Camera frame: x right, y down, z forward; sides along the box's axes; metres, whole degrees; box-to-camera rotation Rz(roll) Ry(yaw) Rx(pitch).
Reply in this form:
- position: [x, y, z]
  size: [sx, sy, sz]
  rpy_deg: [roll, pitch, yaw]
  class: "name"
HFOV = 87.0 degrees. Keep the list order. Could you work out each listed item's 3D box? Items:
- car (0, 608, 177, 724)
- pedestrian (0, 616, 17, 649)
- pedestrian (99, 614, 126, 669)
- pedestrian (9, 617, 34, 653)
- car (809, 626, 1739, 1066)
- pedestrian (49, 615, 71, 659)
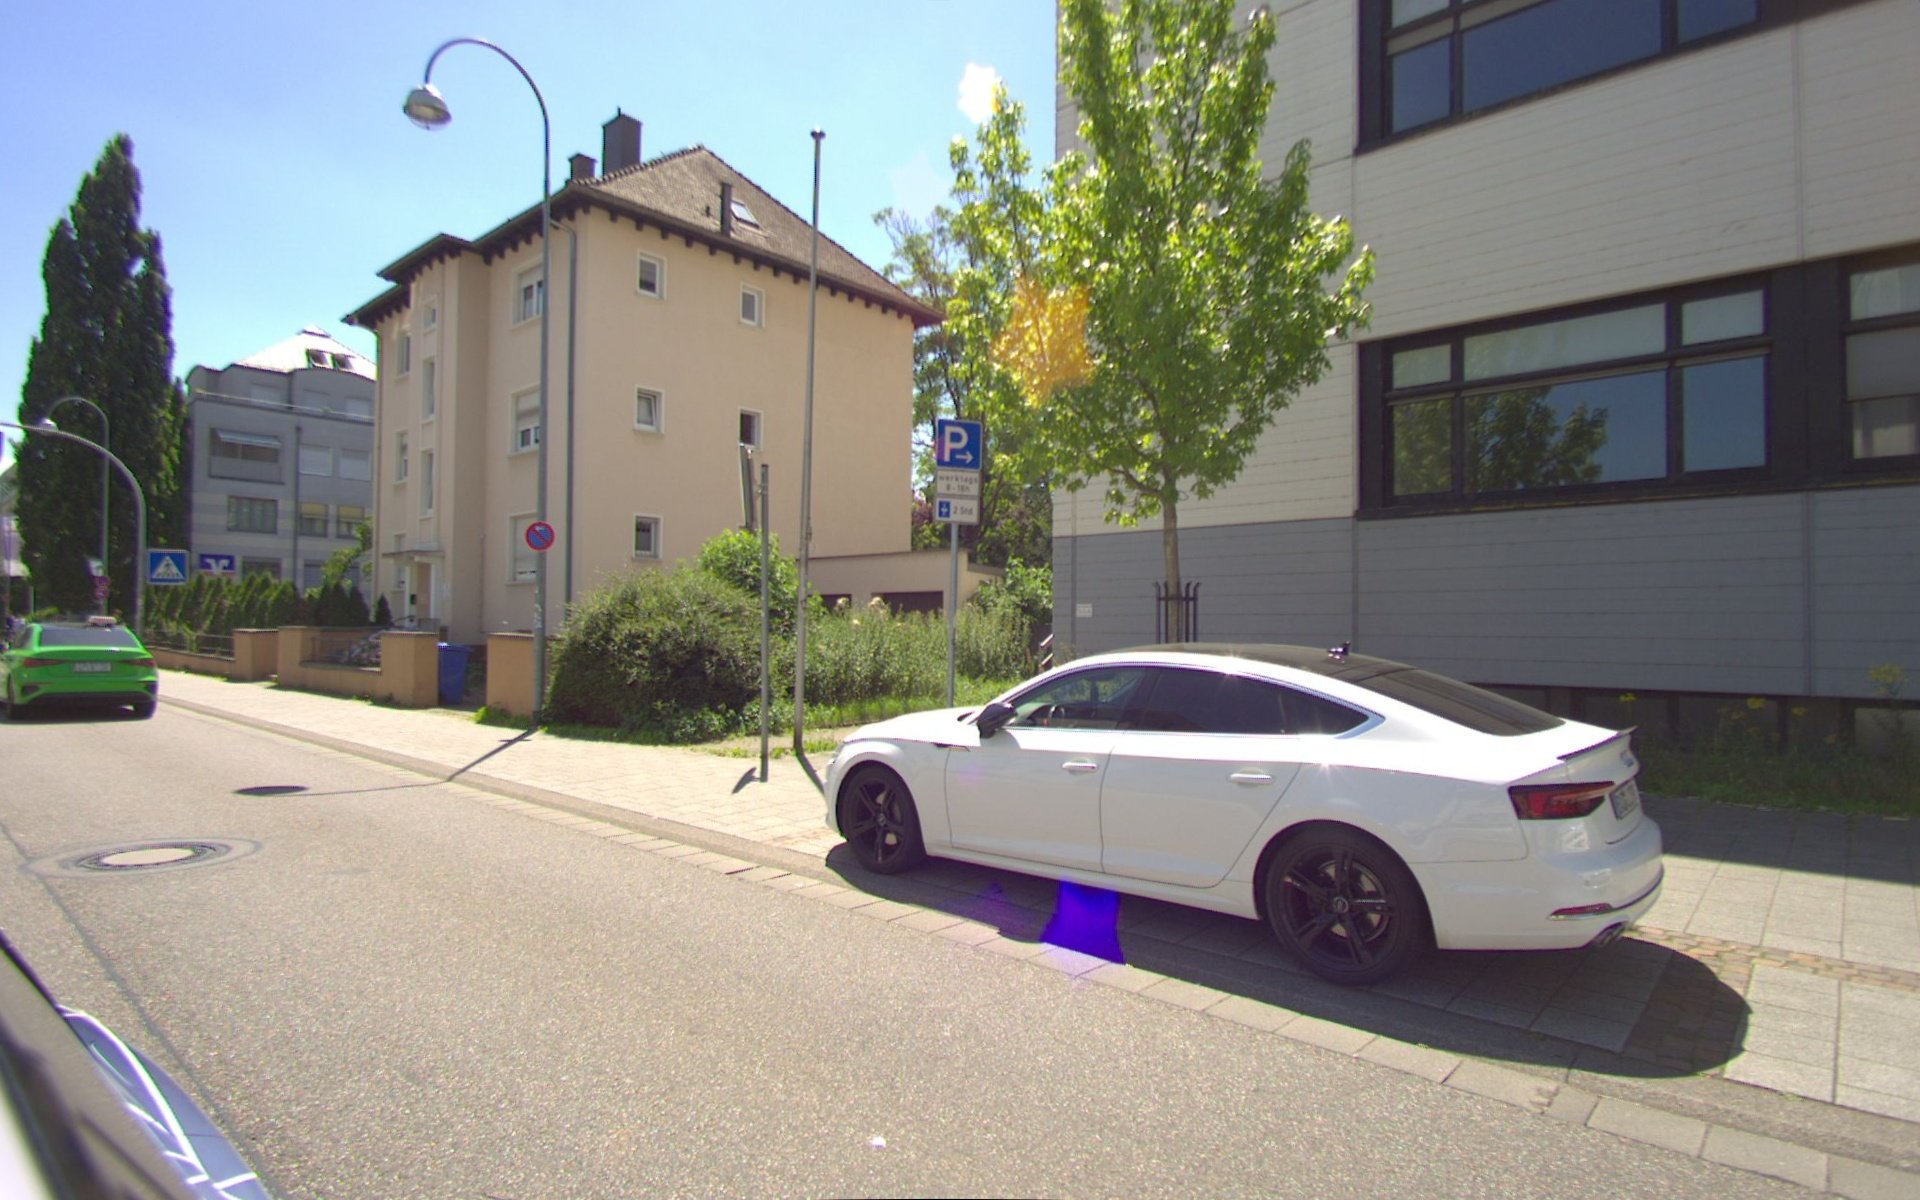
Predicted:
- position: [-14.119, 0.980, 16.149]
  size: [4.099, 1.600, 1.803]
  rpy_deg: [-1, -3, 42]
  class: "car"
- position: [-51.228, 1.733, 54.342]
  size: [0.951, 1.784, 0.740]
  rpy_deg: [-1, -2, 41]
  class: "pedestrian"
- position: [-26.718, 1.291, 31.902]
  size: [0.708, 1.698, 0.531]
  rpy_deg: [-1, -2, 42]
  class: "pedestrian"
- position: [-45.308, 1.677, 48.857]
  size: [0.751, 1.657, 0.836]
  rpy_deg: [0, 1, 43]
  class: "pedestrian"
- position: [1.328, 0.873, 5.579]
  size: [4.576, 1.422, 1.803]
  rpy_deg: [-1, -2, 42]
  class: "car"
- position: [-35.299, 1.441, 39.697]
  size: [0.708, 1.698, 0.531]
  rpy_deg: [-1, -2, 42]
  class: "pedestrian"
